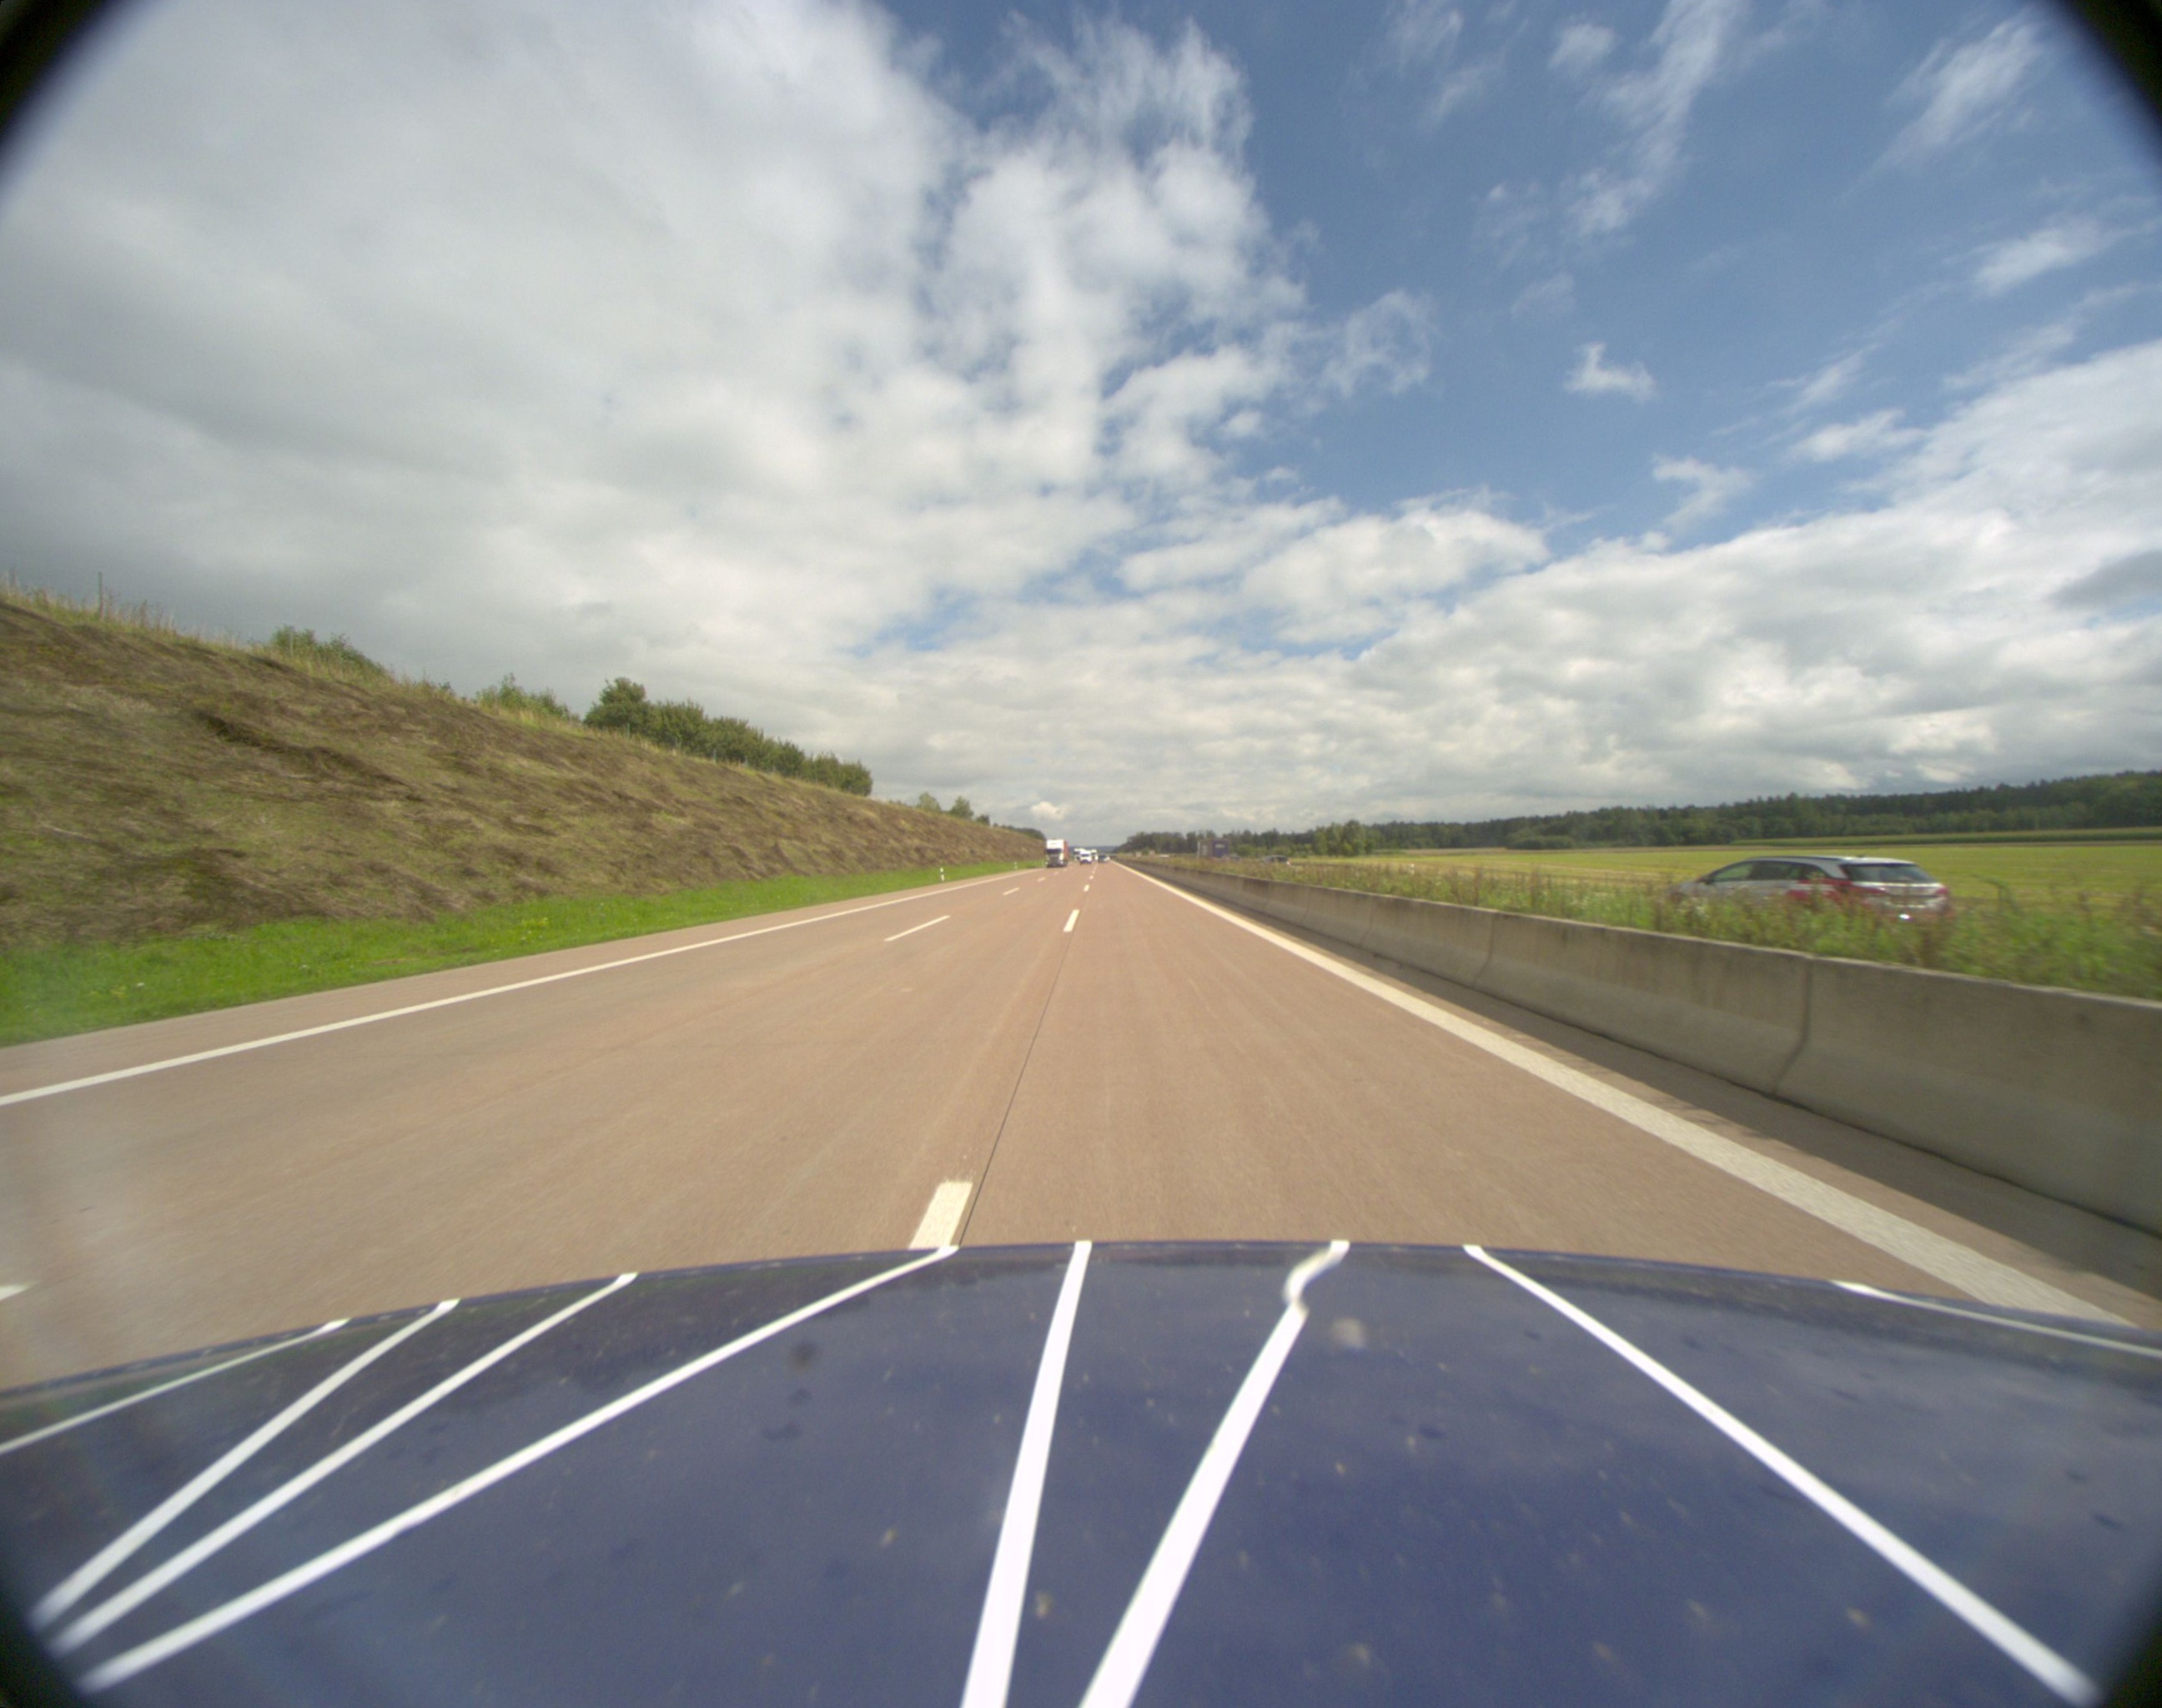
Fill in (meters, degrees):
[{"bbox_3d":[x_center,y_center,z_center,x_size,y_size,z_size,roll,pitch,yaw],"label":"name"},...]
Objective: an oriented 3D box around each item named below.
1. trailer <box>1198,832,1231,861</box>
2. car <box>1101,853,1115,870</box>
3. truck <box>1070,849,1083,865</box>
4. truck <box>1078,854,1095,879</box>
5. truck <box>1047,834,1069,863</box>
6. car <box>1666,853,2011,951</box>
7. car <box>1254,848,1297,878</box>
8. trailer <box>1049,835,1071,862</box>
[{"bbox_3d":[19.956,-1.091,114.486,2.777,3.936,14.331,-1,0,1],"label":"trailer"},{"bbox_3d":[5.568,1.519,156.908,2.773,3.260,6.393,-3,0,2],"label":"car"},{"bbox_3d":[-1.211,0.871,221.089,3.107,4.333,11.257,-3,0,1],"label":"truck"},{"bbox_3d":[1.126,2.217,141.188,2.680,4.333,11.809,-3,0,1],"label":"truck"},{"bbox_3d":[-3.417,-0.814,113.876,2.680,4.082,6.616,-2,0,2],"label":"truck"},{"bbox_3d":[13.409,0.737,13.932,1.999,1.499,4.274,0,0,-1],"label":"car"},{"bbox_3d":[13.550,0.573,53.244,1.998,2.002,4.000,0,0,0],"label":"car"},{"bbox_3d":[-3.251,-0.821,119.961,2.679,4.069,12.790,-2,0,2],"label":"trailer"}]
